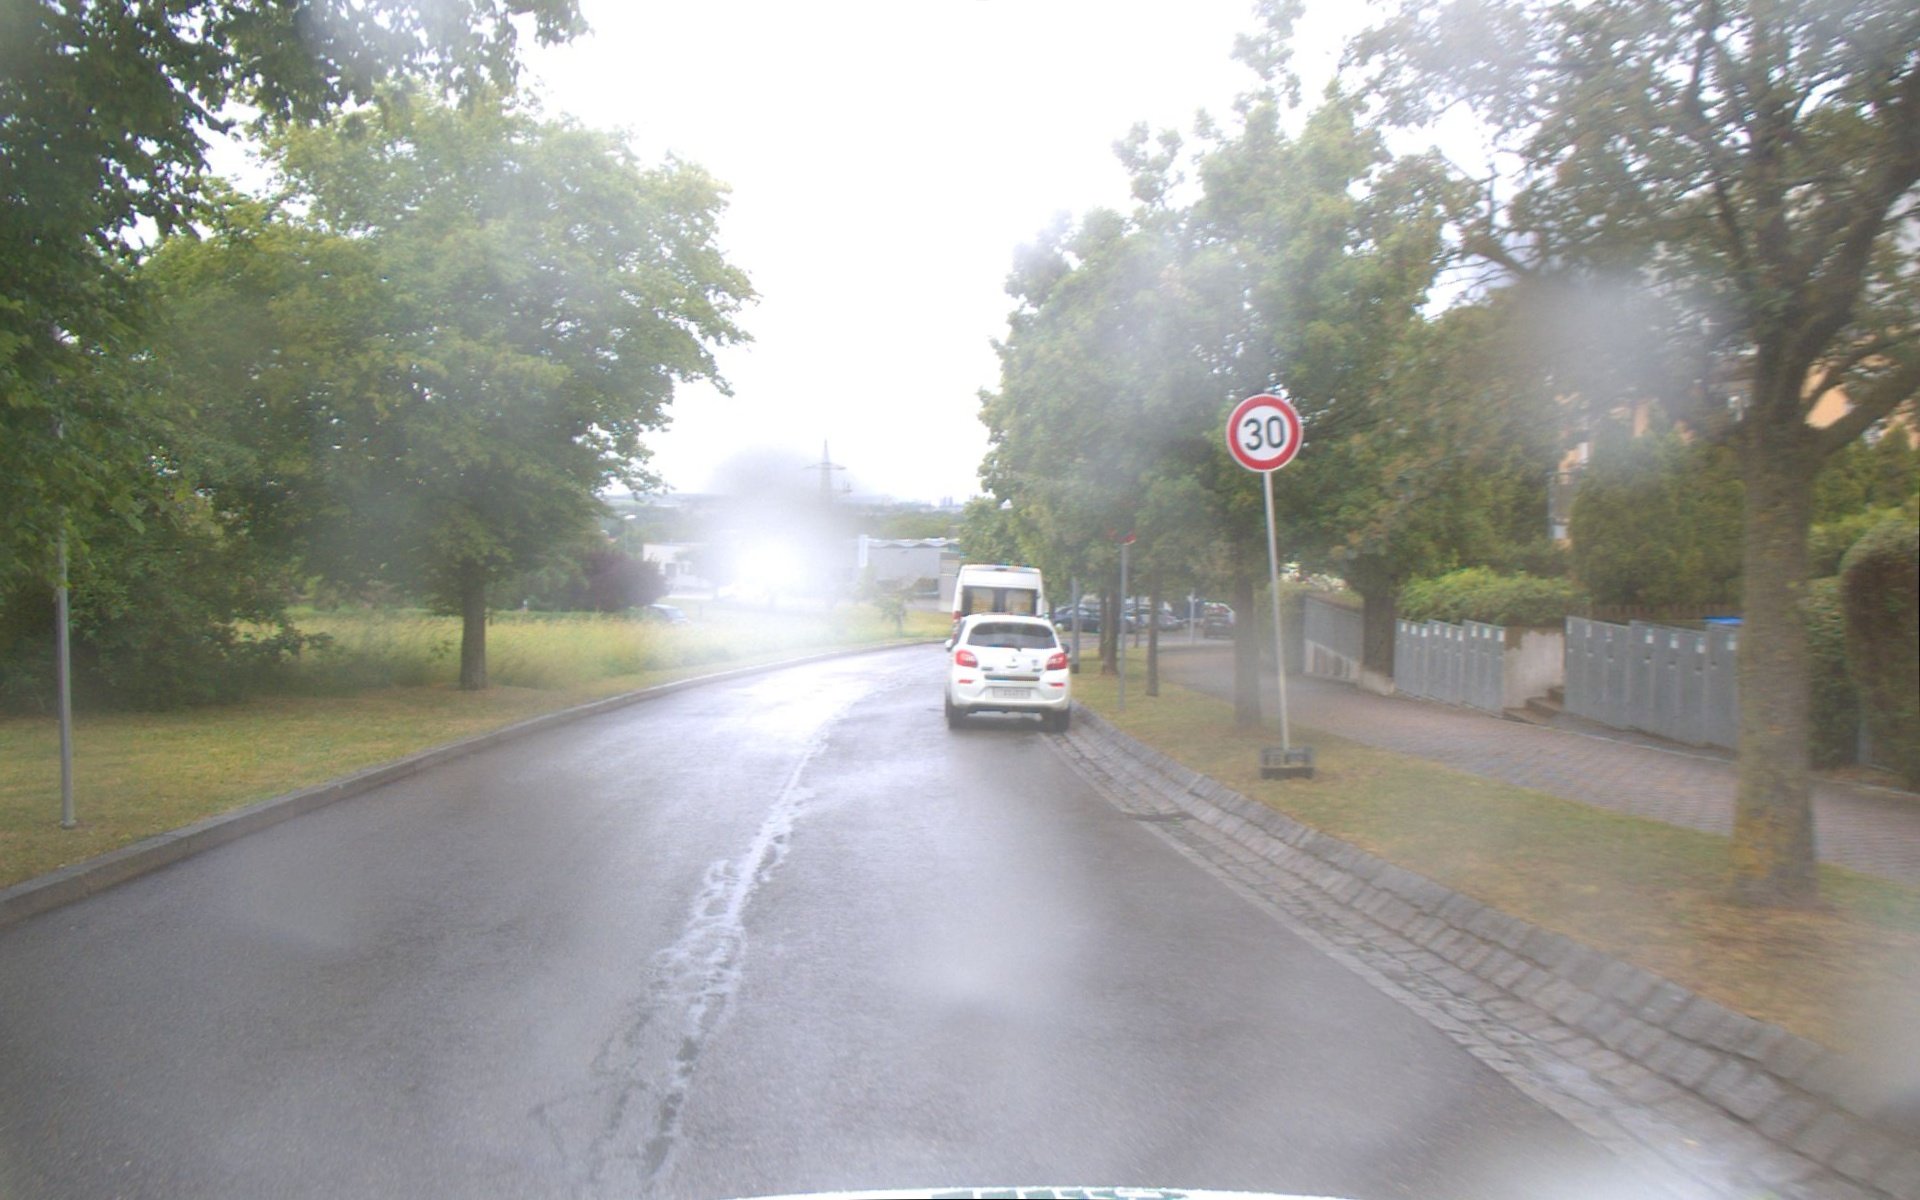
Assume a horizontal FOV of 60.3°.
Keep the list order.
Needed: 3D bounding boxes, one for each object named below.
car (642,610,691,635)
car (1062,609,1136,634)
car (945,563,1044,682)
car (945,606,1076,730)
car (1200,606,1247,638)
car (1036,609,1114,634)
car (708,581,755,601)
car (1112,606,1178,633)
[{"bbox_3d":[-21.302,1.606,119.908,1.764,1.624,3.944,0,1,-39],"label":"car"},{"bbox_3d":[8.002,1.227,95.165,3.904,1.384,1.855,0,-1,19],"label":"car"},{"bbox_3d":[0.874,0.487,38.478,2.073,2.510,5.511,2,0,3],"label":"car"},{"bbox_3d":[0.629,0.876,22.978,1.573,1.529,3.725,2,0,-2],"label":"car"},{"bbox_3d":[14.618,1.190,91.508,1.653,1.579,3.695,2,2,24],"label":"car"},{"bbox_3d":[6.496,1.232,93.374,4.078,1.379,1.863,0,-1,19],"label":"car"},{"bbox_3d":[-22.720,-0.919,164.711,4.224,1.731,1.777,3,2,-34],"label":"car"},{"bbox_3d":[11.471,1.232,102.681,3.789,1.574,1.774,1,0,18],"label":"car"}]
